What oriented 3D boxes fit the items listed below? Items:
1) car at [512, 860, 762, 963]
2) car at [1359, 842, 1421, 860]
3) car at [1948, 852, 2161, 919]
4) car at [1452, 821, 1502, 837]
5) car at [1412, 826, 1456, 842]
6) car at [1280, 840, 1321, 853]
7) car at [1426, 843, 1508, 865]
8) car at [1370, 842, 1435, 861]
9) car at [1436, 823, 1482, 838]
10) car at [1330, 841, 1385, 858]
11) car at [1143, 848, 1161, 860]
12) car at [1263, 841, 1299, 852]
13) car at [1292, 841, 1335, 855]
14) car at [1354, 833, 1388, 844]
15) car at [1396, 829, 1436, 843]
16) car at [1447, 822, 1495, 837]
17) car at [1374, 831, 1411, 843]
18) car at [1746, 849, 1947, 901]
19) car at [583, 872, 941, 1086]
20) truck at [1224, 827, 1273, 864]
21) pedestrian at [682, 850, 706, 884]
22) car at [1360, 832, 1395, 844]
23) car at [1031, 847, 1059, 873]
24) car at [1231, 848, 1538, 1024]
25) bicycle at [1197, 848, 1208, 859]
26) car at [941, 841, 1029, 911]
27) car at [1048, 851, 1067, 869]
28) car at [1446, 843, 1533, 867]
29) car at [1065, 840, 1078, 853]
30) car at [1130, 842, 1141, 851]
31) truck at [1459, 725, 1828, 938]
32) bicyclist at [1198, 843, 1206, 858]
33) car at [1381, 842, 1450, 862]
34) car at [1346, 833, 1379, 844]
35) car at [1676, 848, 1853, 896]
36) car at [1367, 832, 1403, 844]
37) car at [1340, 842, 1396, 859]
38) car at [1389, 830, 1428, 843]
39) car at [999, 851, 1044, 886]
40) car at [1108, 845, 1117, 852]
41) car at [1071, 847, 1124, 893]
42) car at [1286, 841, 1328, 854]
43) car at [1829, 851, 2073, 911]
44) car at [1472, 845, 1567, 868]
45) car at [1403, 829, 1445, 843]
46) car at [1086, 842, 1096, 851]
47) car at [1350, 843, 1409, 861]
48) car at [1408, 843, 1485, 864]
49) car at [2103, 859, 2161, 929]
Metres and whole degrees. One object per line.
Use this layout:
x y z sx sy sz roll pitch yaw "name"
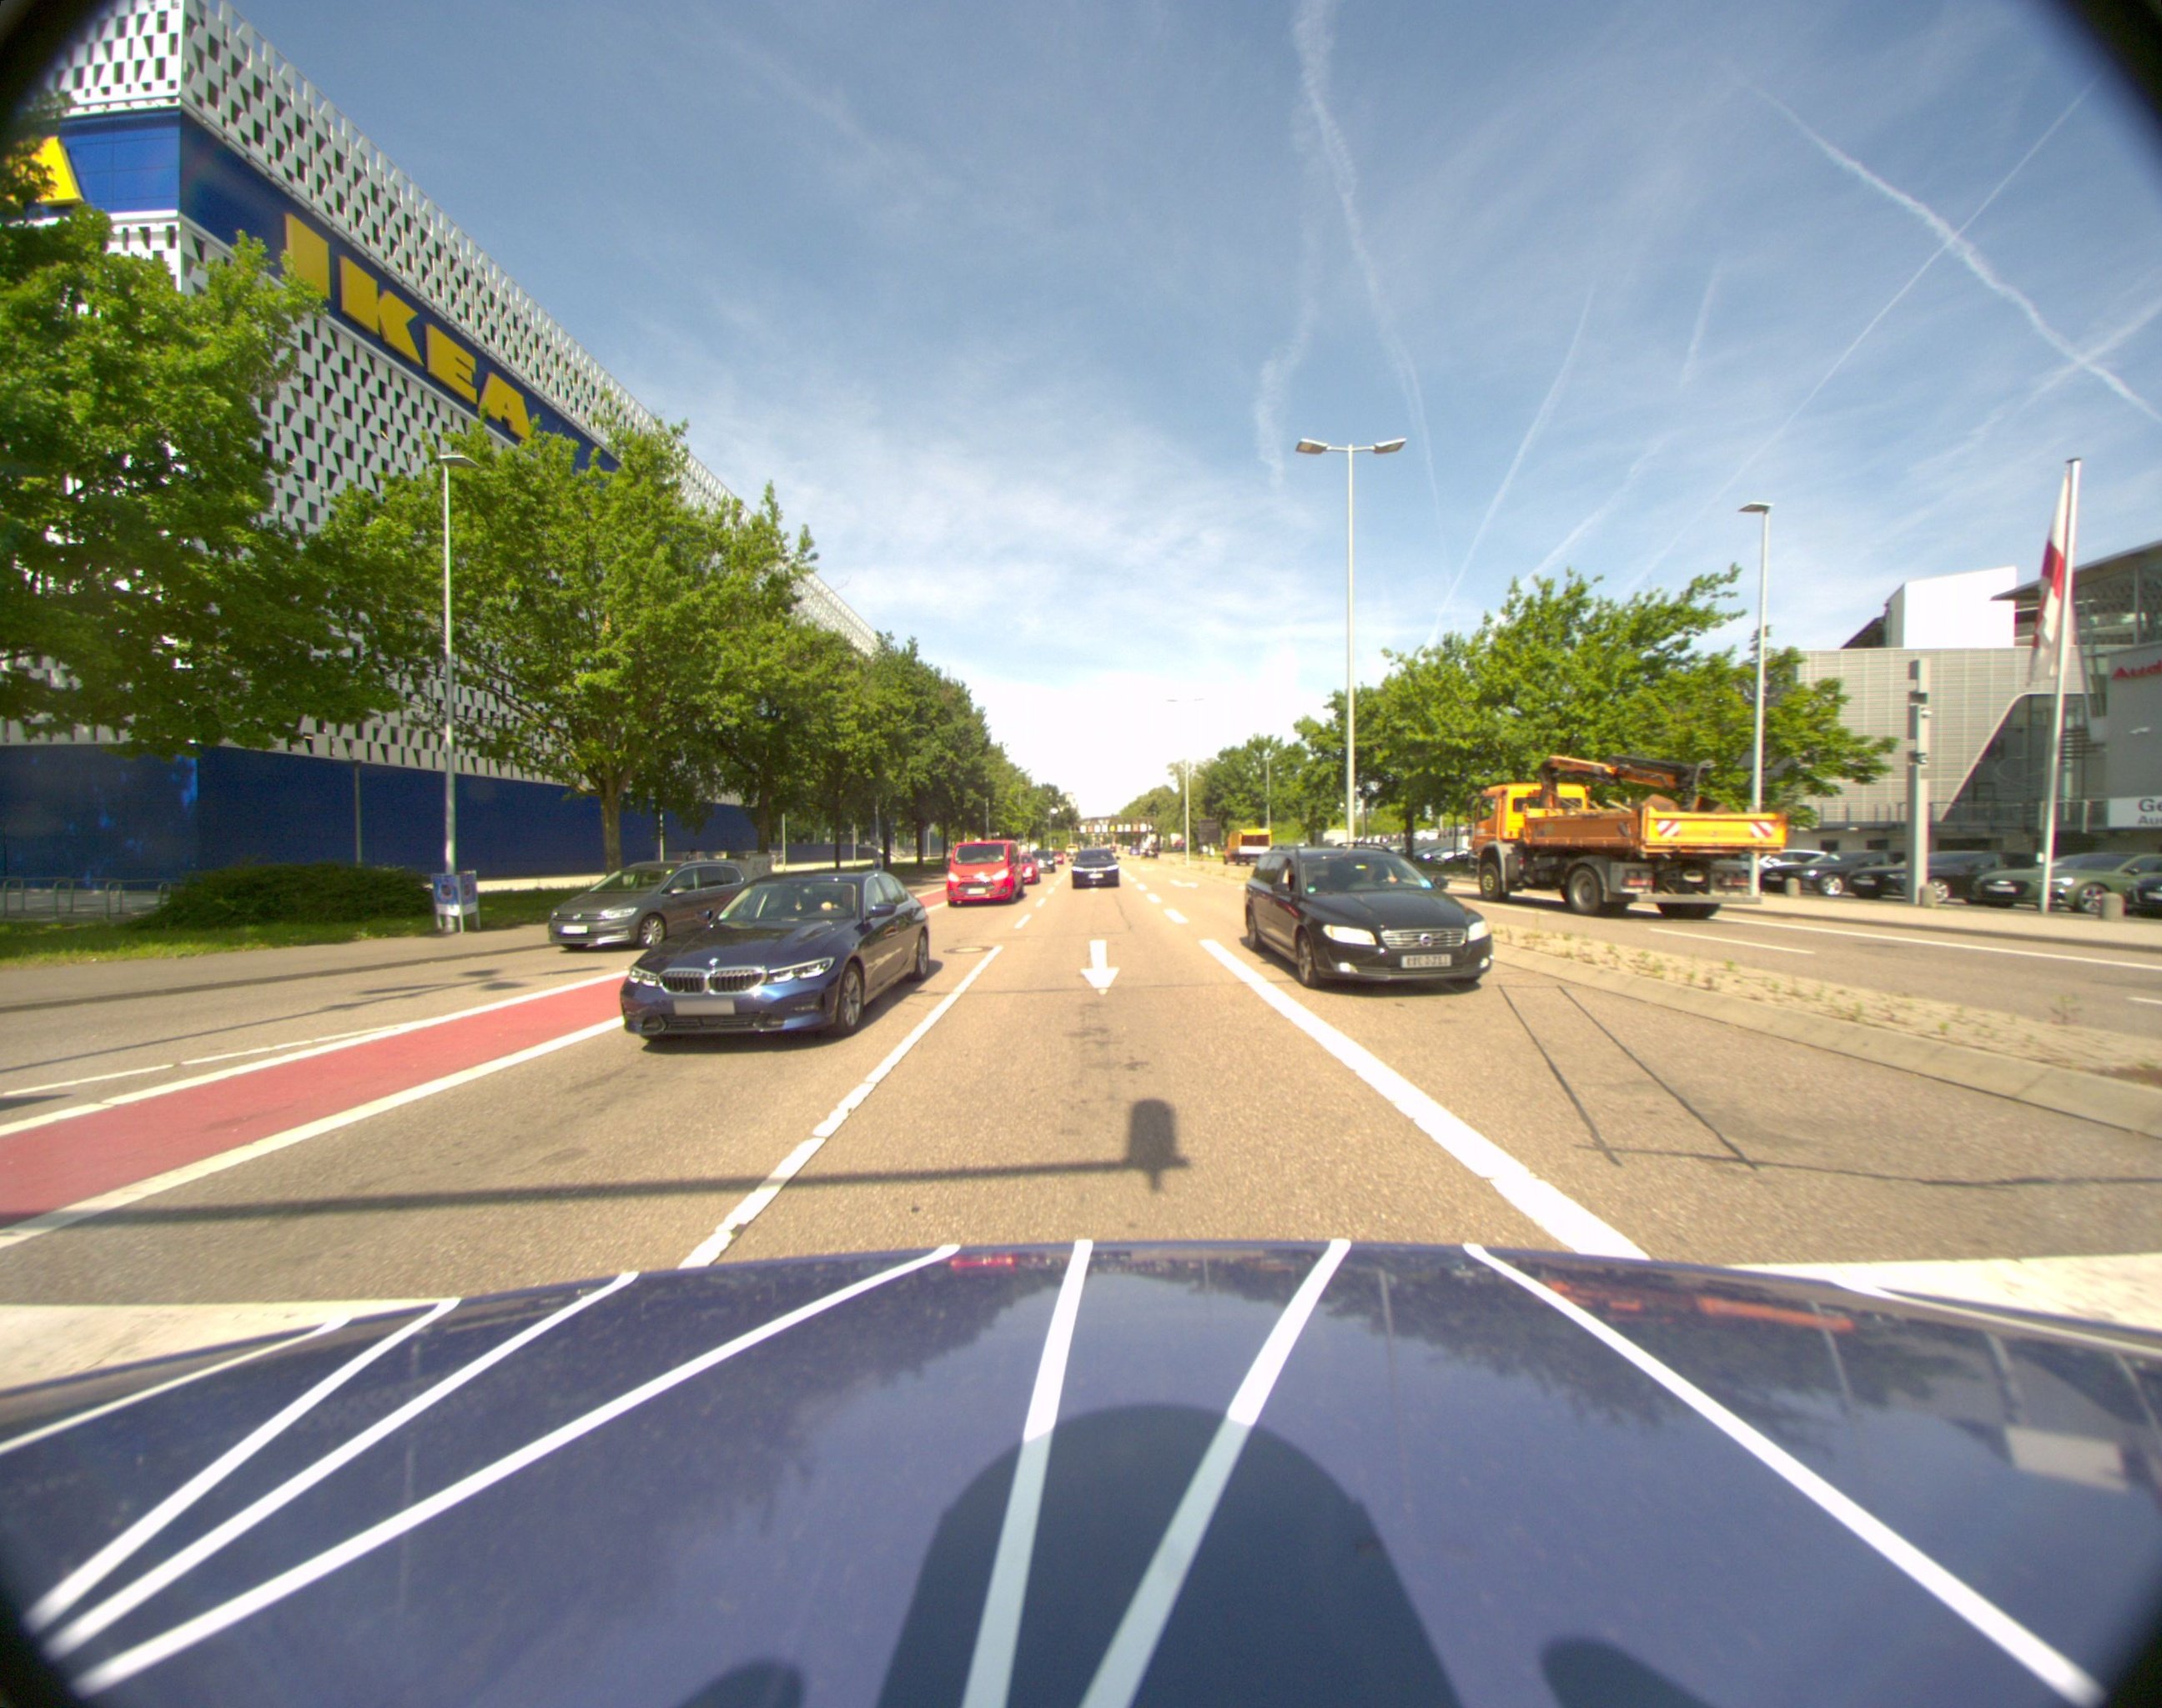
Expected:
-8.641 1.003 15.368 1.997 1.646 4.393 0 1 9 "car"
24.512 -0.217 60.435 4.196 1.248 1.690 2 1 2 "car"
22.712 0.702 17.089 4.185 1.327 1.854 2 1 1 "car"
40.858 -2.564 78.479 4.196 1.397 1.690 2 1 2 "car"
41.327 -2.287 89.027 4.196 1.722 1.690 2 1 2 "car"
25.313 -0.836 87.761 4.196 1.315 1.690 2 1 2 "car"
24.046 -0.014 47.442 4.196 1.188 1.690 2 1 2 "car"
24.414 -0.214 57.747 4.196 1.292 1.690 2 1 2 "car"
41.710 -2.619 83.825 4.196 1.491 1.690 2 1 2 "car"
24.674 -0.397 67.904 4.196 1.315 1.690 2 1 2 "car"
9.274 0.014 99.687 1.851 1.451 4.663 2 1 0 "car"
25.924 -0.970 98.522 4.196 1.315 1.690 2 1 2 "car"
25.151 -0.667 82.293 4.196 1.315 1.690 2 1 2 "car"
41.829 -2.249 109.720 4.196 1.491 1.690 2 1 2 "car"
41.402 -2.209 94.021 4.196 1.491 1.690 2 1 2 "car"
41.566 -2.602 81.094 4.196 1.491 1.690 2 1 2 "car"
41.815 -2.250 102.166 4.196 1.491 1.690 2 1 2 "car"
22.820 0.600 22.767 4.121 1.347 1.835 2 1 -1 "car"
-2.846 1.007 8.056 1.800 1.421 4.537 -2 1 0 "car"
12.577 -0.660 57.426 2.381 2.610 6.672 -1 1 1 "truck"
-17.723 0.591 34.799 0.680 1.537 0.780 0 1 1 "pedestrian"
41.816 -2.263 107.130 4.196 1.491 1.690 2 1 2 "car"
-2.356 0.392 50.559 1.649 1.531 3.999 -4 1 0 "car"
3.258 0.738 9.382 1.882 1.513 4.868 -2 1 1 "car"
13.065 -0.070 81.929 0.573 1.143 1.768 0 1 -11 "bicycle"
-2.883 0.596 23.877 2.014 1.896 4.809 -2 1 0 "car"
-2.295 0.592 74.505 1.649 1.531 3.999 -4 1 0 "car"
24.105 0.038 44.944 4.196 1.239 1.690 2 1 2 "car"
-1.495 -1.281 126.454 1.998 2.002 3.999 -3 2 1 "car"
9.096 -1.203 127.012 1.732 1.430 3.869 1 1 1 "car"
11.812 -0.464 17.229 2.753 3.659 7.579 2 1 2 "truck"
13.056 -0.417 81.836 0.578 1.587 0.909 0 1 -11 "bicyclist"
24.241 -0.155 55.114 4.196 1.252 1.690 2 1 2 "car"
41.627 -2.282 112.266 4.196 1.491 1.690 2 1 2 "car"
22.799 0.567 25.475 4.226 1.387 1.802 2 1 0 "car"
42.002 -2.251 105.009 4.196 1.491 1.690 2 1 2 "car"
24.683 -0.317 65.436 4.196 1.239 1.690 2 1 2 "car"
41.524 -2.208 96.310 4.196 1.491 1.690 2 1 2 "car"
-2.690 0.637 34.956 1.692 1.414 3.915 -2 1 0 "car"
7.417 -1.252 178.562 1.866 1.503 4.000 0 1 3 "car"
0.612 0.558 29.681 1.847 1.531 3.999 -3 1 1 "car"
25.334 -0.697 85.185 4.196 1.315 1.690 2 1 2 "car"
22.832 0.672 20.063 4.291 1.347 1.829 2 1 0 "car"
24.243 0.137 42.085 4.196 1.116 1.719 2 1 2 "car"
41.374 -2.185 91.687 4.196 1.491 1.690 2 1 2 "car"
2.345 -1.792 178.801 1.998 2.002 3.999 -3 2 1 "car"
24.629 -0.165 62.840 4.196 1.317 1.690 2 1 2 "car"
23.972 -0.060 49.898 4.196 1.198 1.690 2 1 2 "car"
22.485 0.843 14.238 3.996 1.311 1.838 2 1 2 "car"
